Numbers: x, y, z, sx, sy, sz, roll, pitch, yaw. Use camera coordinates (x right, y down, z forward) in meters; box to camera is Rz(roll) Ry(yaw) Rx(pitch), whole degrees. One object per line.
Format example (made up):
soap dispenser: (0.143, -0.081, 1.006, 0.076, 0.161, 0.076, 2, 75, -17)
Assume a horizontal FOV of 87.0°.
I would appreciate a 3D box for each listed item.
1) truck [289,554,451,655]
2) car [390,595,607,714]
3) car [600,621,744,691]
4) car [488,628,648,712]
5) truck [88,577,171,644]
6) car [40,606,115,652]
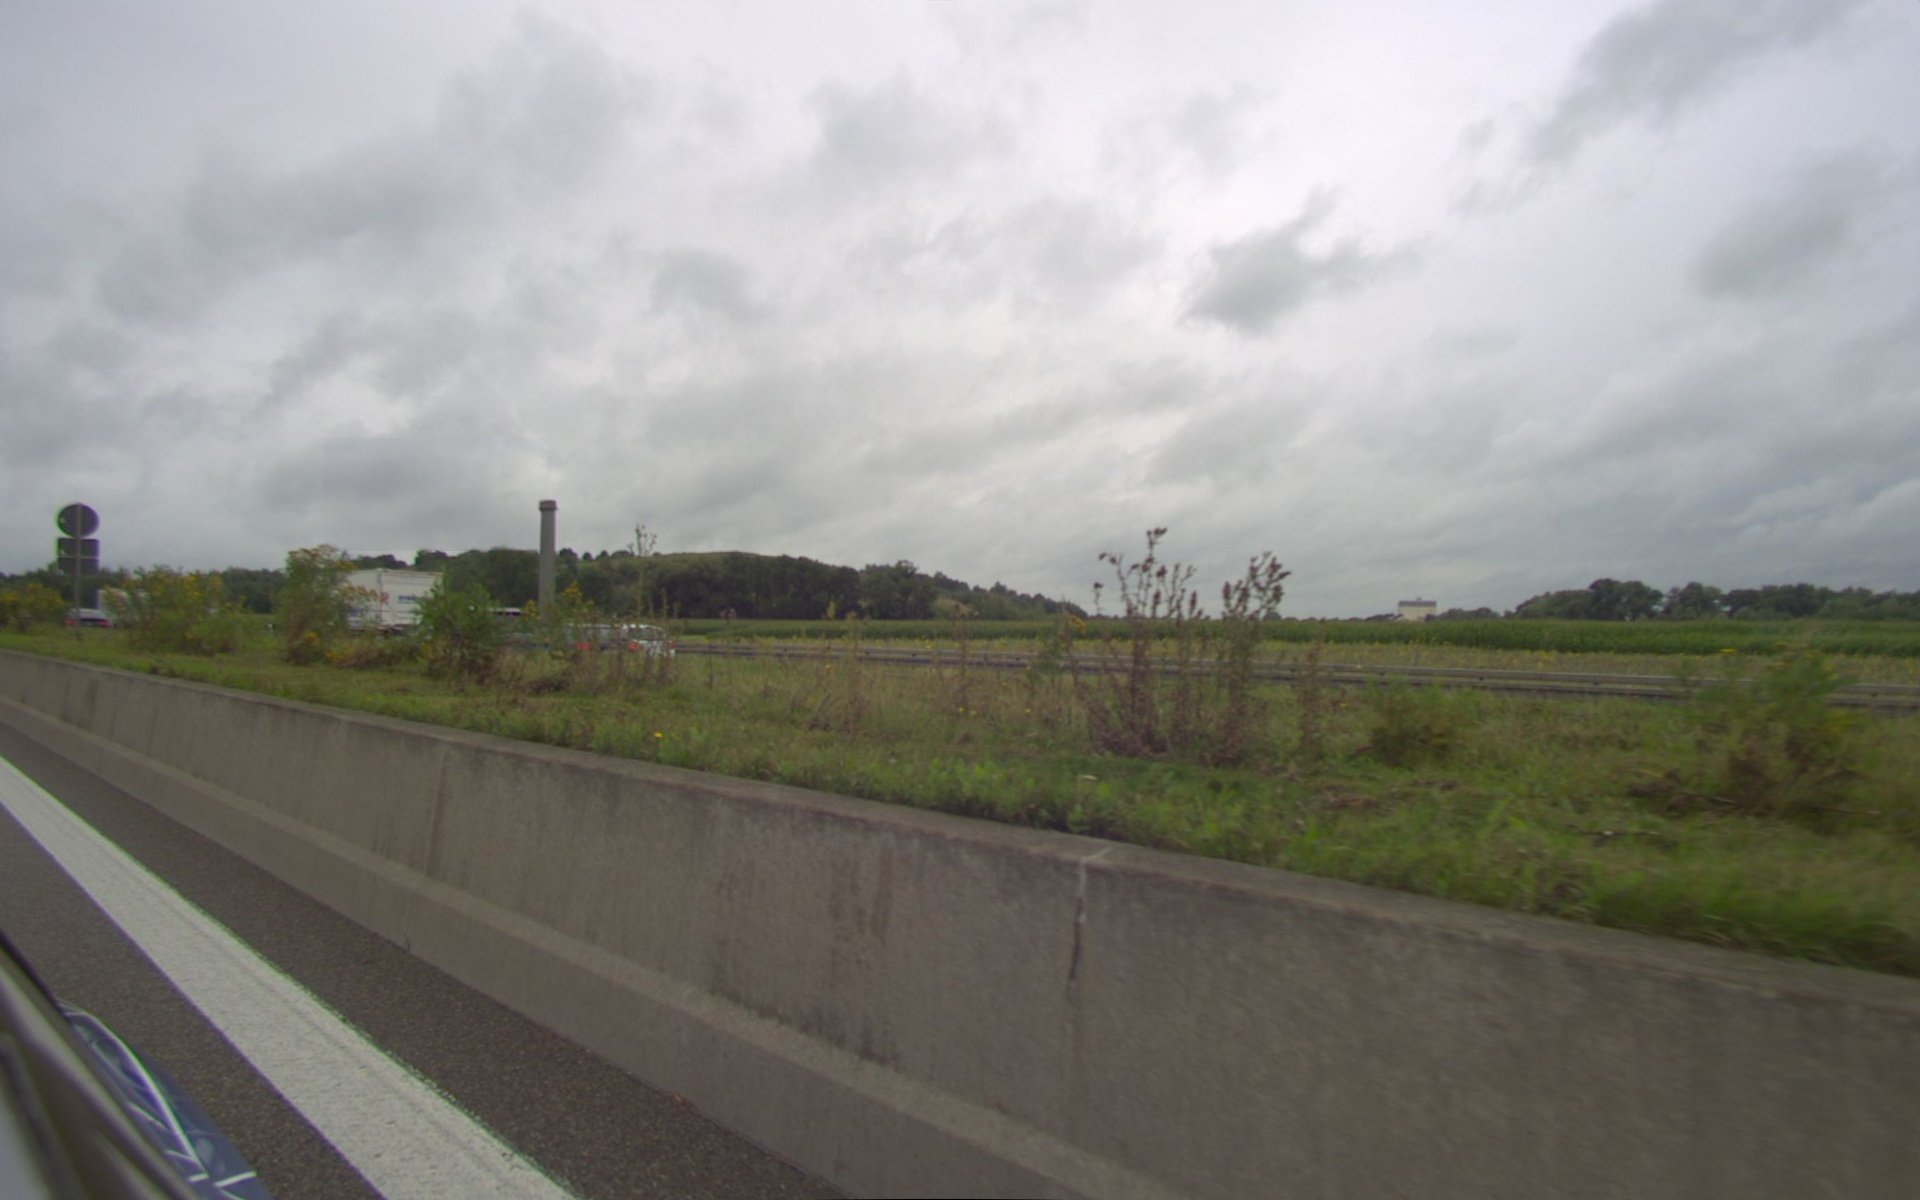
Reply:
truck: (-26.290, 0.192, 44.751, 10.810, 3.997, 3.149, 0, 0, 43)
car: (-8.100, 0.840, 17.626, 3.998, 1.829, 1.973, 0, 0, 41)
car: (-8.016, 1.479, 28.041, 3.998, 1.696, 1.973, 0, 0, 41)
car: (-9.124, 1.534, 23.429, 3.998, 1.665, 1.797, 0, 0, 41)
truck: (-62.196, 0.743, 75.685, 9.668, 4.684, 3.192, 0, 0, 41)
car: (-41.093, 1.346, 47.088, 4.833, 2.029, 1.973, -1, -2, 41)
